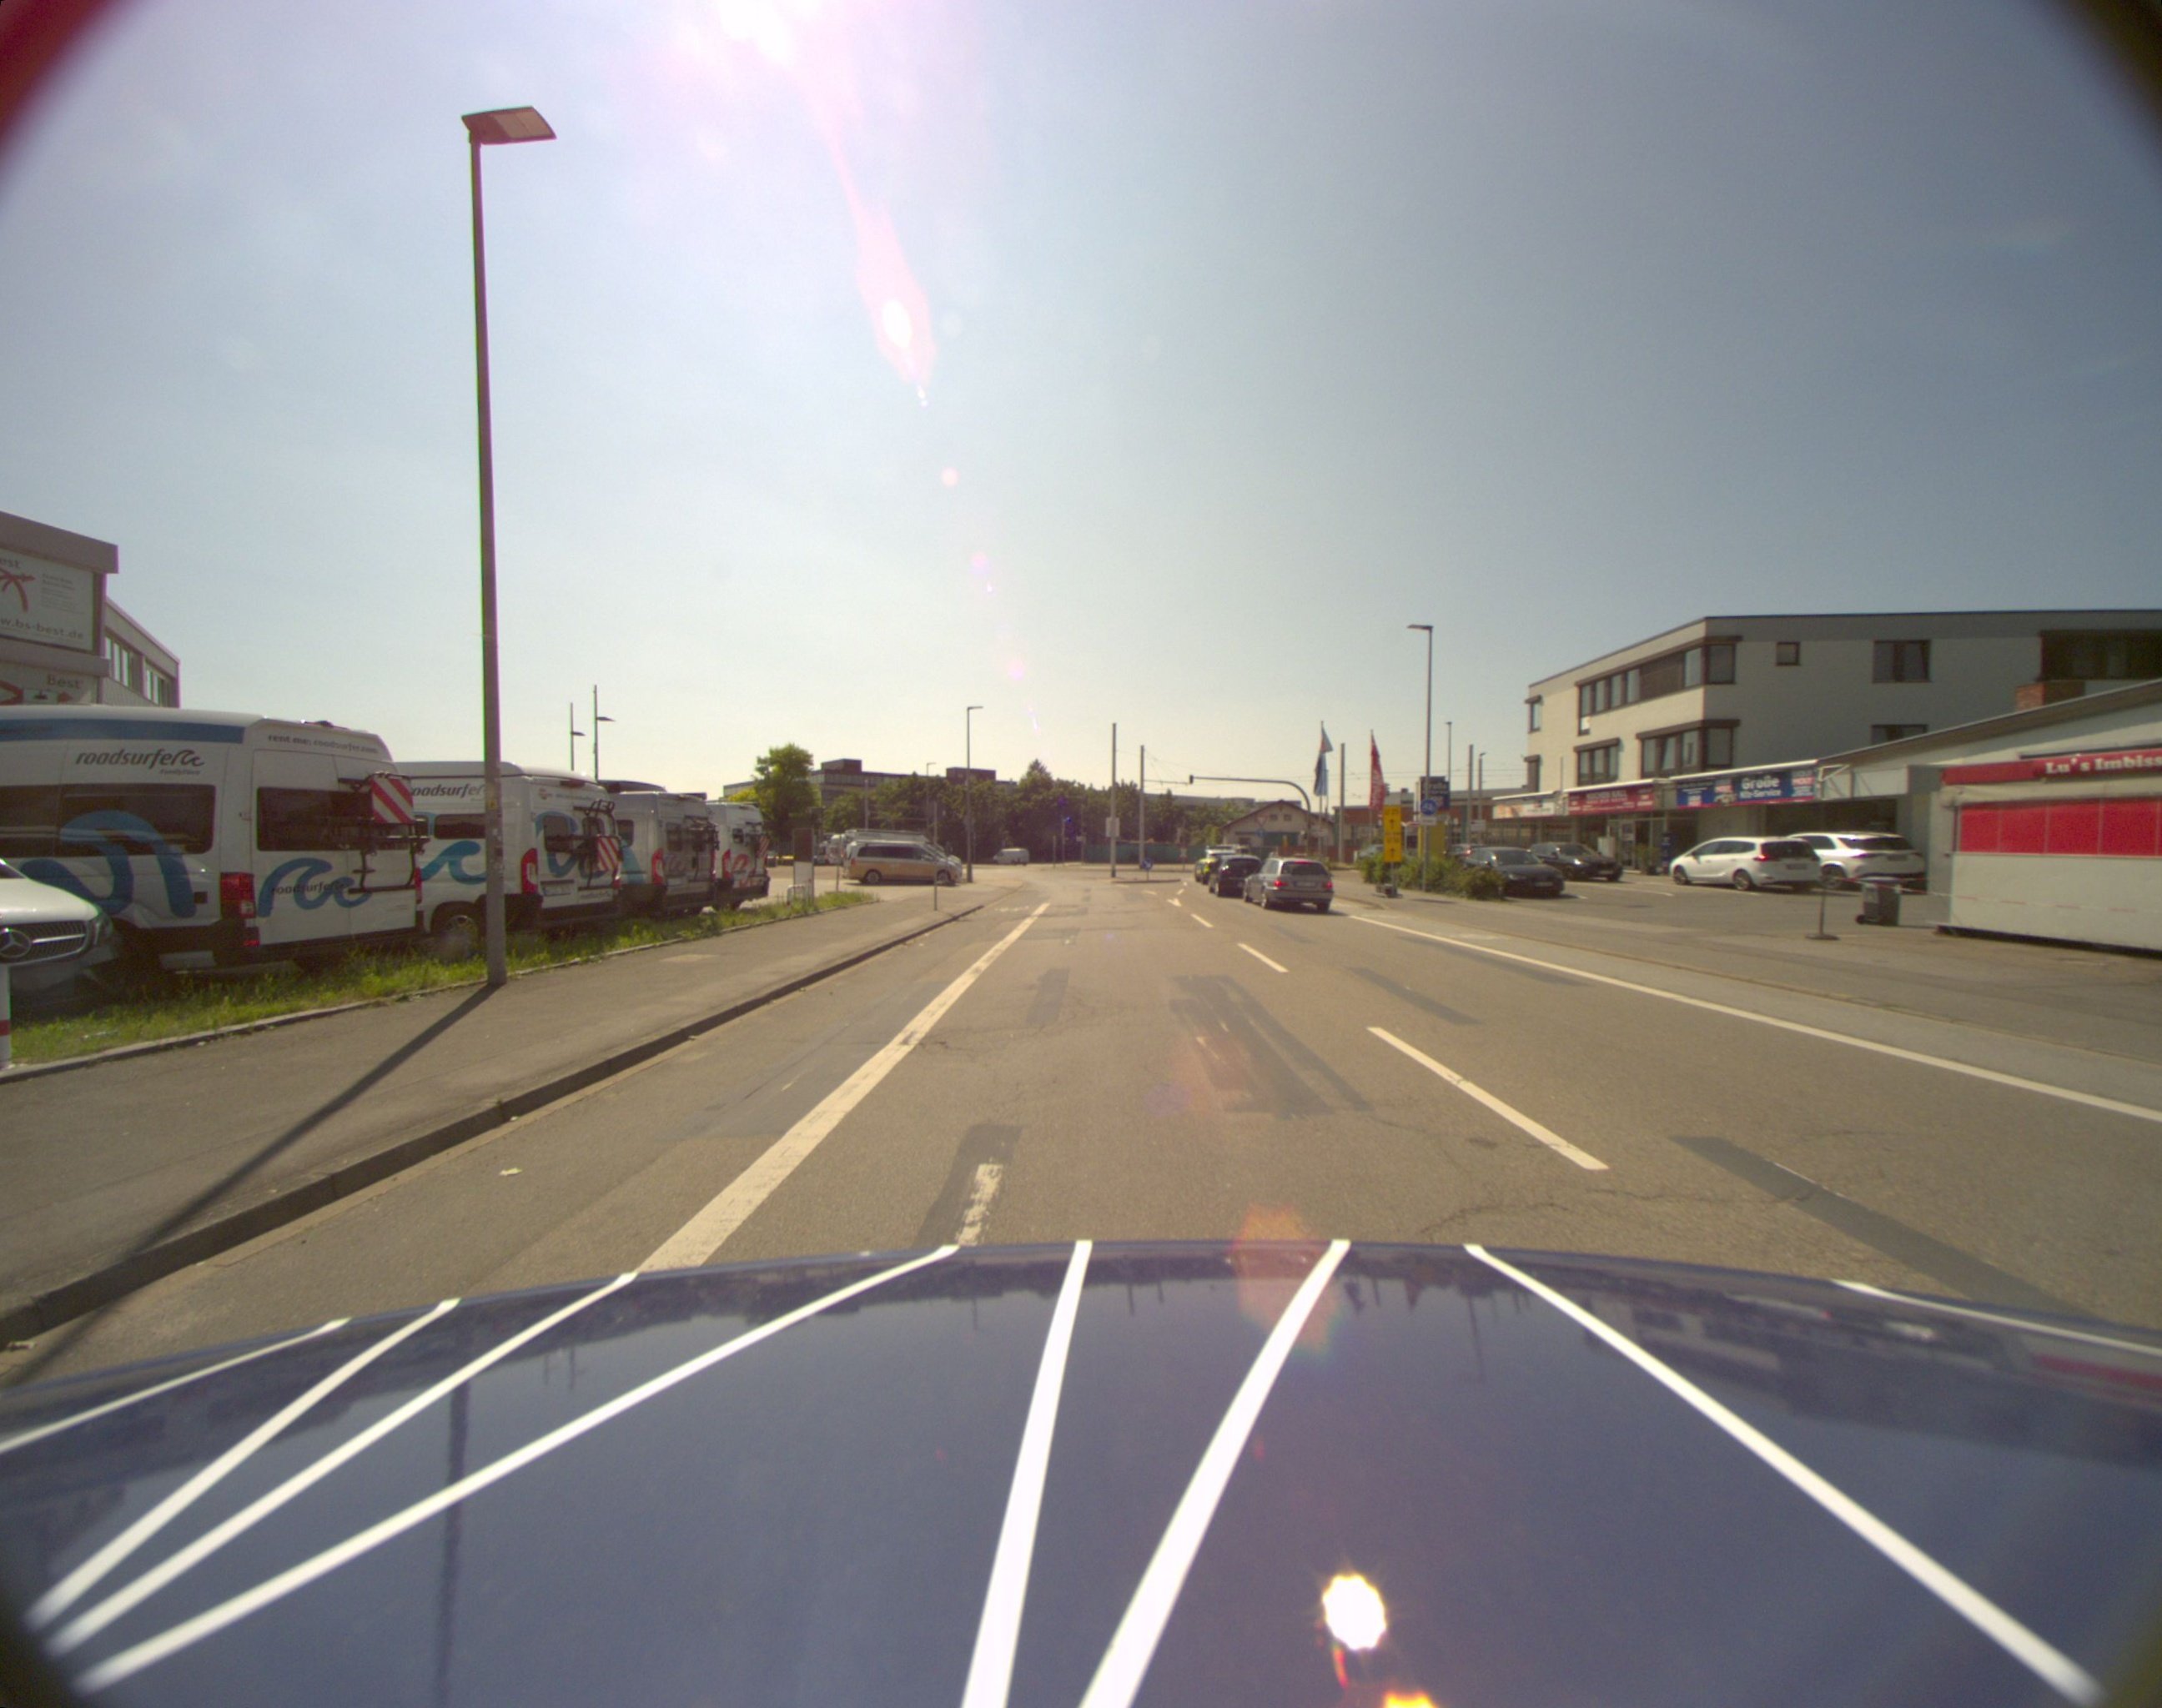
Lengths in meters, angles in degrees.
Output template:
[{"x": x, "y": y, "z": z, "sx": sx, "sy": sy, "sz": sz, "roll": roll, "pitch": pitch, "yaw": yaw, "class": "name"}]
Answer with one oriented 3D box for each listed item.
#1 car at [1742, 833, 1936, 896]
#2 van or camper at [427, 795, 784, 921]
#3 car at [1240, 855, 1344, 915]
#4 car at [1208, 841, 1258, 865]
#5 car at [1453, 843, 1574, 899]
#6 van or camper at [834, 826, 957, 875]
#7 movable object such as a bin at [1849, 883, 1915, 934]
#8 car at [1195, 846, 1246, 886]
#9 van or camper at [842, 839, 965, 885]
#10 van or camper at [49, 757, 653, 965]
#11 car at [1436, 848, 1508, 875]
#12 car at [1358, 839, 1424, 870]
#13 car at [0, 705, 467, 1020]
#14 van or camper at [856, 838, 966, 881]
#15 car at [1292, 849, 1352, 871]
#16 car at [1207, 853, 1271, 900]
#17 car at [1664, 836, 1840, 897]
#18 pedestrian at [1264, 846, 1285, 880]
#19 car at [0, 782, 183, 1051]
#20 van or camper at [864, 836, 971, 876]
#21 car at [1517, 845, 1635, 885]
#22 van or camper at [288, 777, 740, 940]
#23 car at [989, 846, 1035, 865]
[{"x": 23.802, "y": 0.288, "z": 24.147, "sx": 1.911, "sy": 1.806, "sz": 4.419, "roll": 0, "pitch": 1, "yaw": 4, "class": "car"}, {"x": -10.154, "y": 0.072, "z": 16.713, "sx": 6.210, "sy": 2.510, "sz": 2.619, "roll": 0, "pitch": 1, "yaw": 1, "class": "van or camper"}, {"x": 5.739, "y": 0.788, "z": 21.230, "sx": 1.746, "sy": 1.396, "sz": 4.324, "roll": 2, "pitch": 1, "yaw": 1, "class": "car"}, {"x": 14.747, "y": -0.148, "z": 74.063, "sx": 2.001, "sy": 1.937, "sz": 4.421, "roll": -2, "pitch": 6, "yaw": -39, "class": "car"}, {"x": 14.172, "y": 0.502, "z": 25.188, "sx": 1.909, "sy": 1.705, "sz": 4.001, "roll": 0, "pitch": 1, "yaw": 3, "class": "car"}, {"x": -10.565, "y": -0.205, "z": 43.568, "sx": 6.375, "sy": 2.621, "sz": 2.526, "roll": 0, "pitch": 1, "yaw": -35, "class": "van or camper"}, {"x": 15.318, "y": 1.040, "z": 14.538, "sx": 0.572, "sy": 0.917, "sz": 0.690, "roll": -2, "pitch": 0, "yaw": 14, "class": "movable object such as a bin"}, {"x": 6.469, "y": 0.489, "z": 35.593, "sx": 1.897, "sy": 1.748, "sz": 4.354, "roll": 0, "pitch": 1, "yaw": 4, "class": "car"}, {"x": -8.167, "y": 0.365, "z": 35.119, "sx": 5.145, "sy": 1.950, "sz": 1.981, "roll": 1, "pitch": 2, "yaw": -29, "class": "van or camper"}, {"x": -10.301, "y": 0.076, "z": 11.267, "sx": 6.364, "sy": 2.684, "sz": 2.712, "roll": 0, "pitch": 1, "yaw": 1, "class": "van or camper"}, {"x": 21.216, "y": 0.353, "z": 41.444, "sx": 1.911, "sy": 1.380, "sz": 4.486, "roll": 0, "pitch": 1, "yaw": 4, "class": "car"}, {"x": 16.680, "y": -0.006, "z": 41.113, "sx": 1.911, "sy": 1.564, "sz": 4.819, "roll": 0, "pitch": 1, "yaw": 4, "class": "car"}, {"x": -10.607, "y": 0.055, "z": 8.120, "sx": 6.243, "sy": 2.853, "sz": 2.320, "roll": 0, "pitch": 1, "yaw": 1, "class": "car"}, {"x": -8.488, "y": 0.253, "z": 38.021, "sx": 4.990, "sy": 2.034, "sz": 2.037, "roll": 1, "pitch": 1, "yaw": -29, "class": "van or camper"}, {"x": 18.518, "y": 0.465, "z": 58.406, "sx": 4.112, "sy": 1.445, "sz": 1.766, "roll": -3, "pitch": -2, "yaw": -20, "class": "car"}, {"x": 5.483, "y": 0.721, "z": 26.845, "sx": 1.664, "sy": 1.446, "sz": 4.242, "roll": 2, "pitch": 1, "yaw": 4, "class": "car"}, {"x": 21.270, "y": 0.305, "z": 24.380, "sx": 1.911, "sy": 1.699, "sz": 4.478, "roll": 0, "pitch": 3, "yaw": 5, "class": "car"}, {"x": 9.895, "y": 0.448, "z": 38.785, "sx": 0.995, "sy": 1.676, "sz": 0.800, "roll": 1, "pitch": 1, "yaw": 12, "class": "pedestrian"}, {"x": -10.399, "y": 0.401, "z": 5.600, "sx": 5.247, "sy": 1.941, "sz": 2.000, "roll": 1, "pitch": 1, "yaw": 1, "class": "car"}, {"x": -8.839, "y": 0.077, "z": 41.185, "sx": 5.148, "sy": 2.064, "sz": 2.446, "roll": 0, "pitch": 1, "yaw": -31, "class": "van or camper"}, {"x": 18.964, "y": 0.375, "z": 29.399, "sx": 1.911, "sy": 1.413, "sz": 4.419, "roll": 0, "pitch": 1, "yaw": 4, "class": "car"}, {"x": -10.135, "y": 0.066, "z": 14.099, "sx": 6.364, "sy": 2.700, "sz": 2.712, "roll": 0, "pitch": 1, "yaw": 1, "class": "van or camper"}, {"x": -8.124, "y": 0.134, "z": 89.215, "sx": 5.515, "sy": 2.121, "sz": 2.217, "roll": 1, "pitch": 2, "yaw": 40, "class": "car"}]
